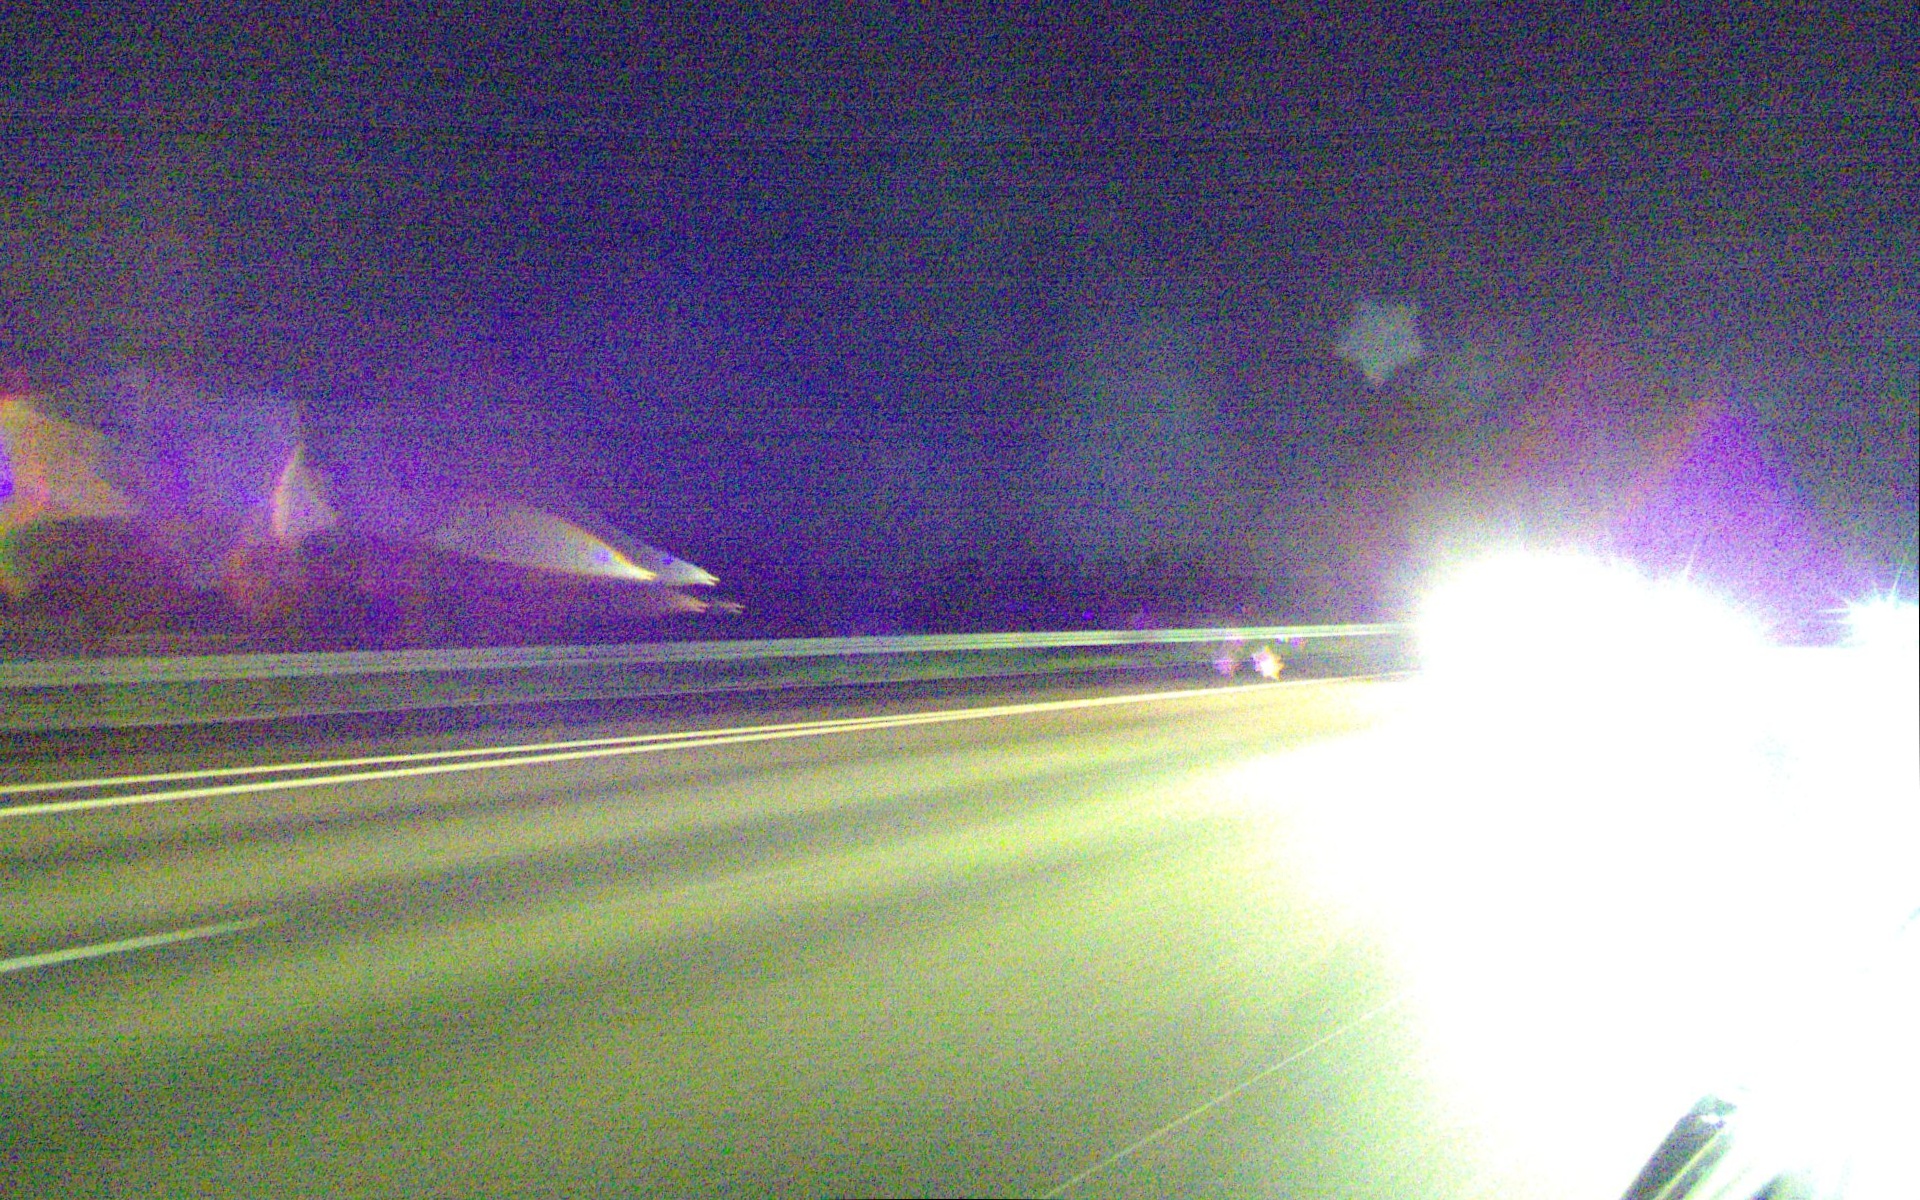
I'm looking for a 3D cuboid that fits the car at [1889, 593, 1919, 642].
[{"bbox_3d":[32.786,0.579,34.039,4.151,1.560,1.794,0,1,-41],"label":"car"}]

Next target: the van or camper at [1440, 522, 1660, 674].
[{"bbox_3d":[12.877,-0.045,21.831,6.687,2.807,2.210,0,0,-42],"label":"van or camper"}]

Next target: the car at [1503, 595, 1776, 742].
[{"bbox_3d":[8.234,0.676,12.117,4.151,1.431,1.689,0,1,-41],"label":"car"}]
